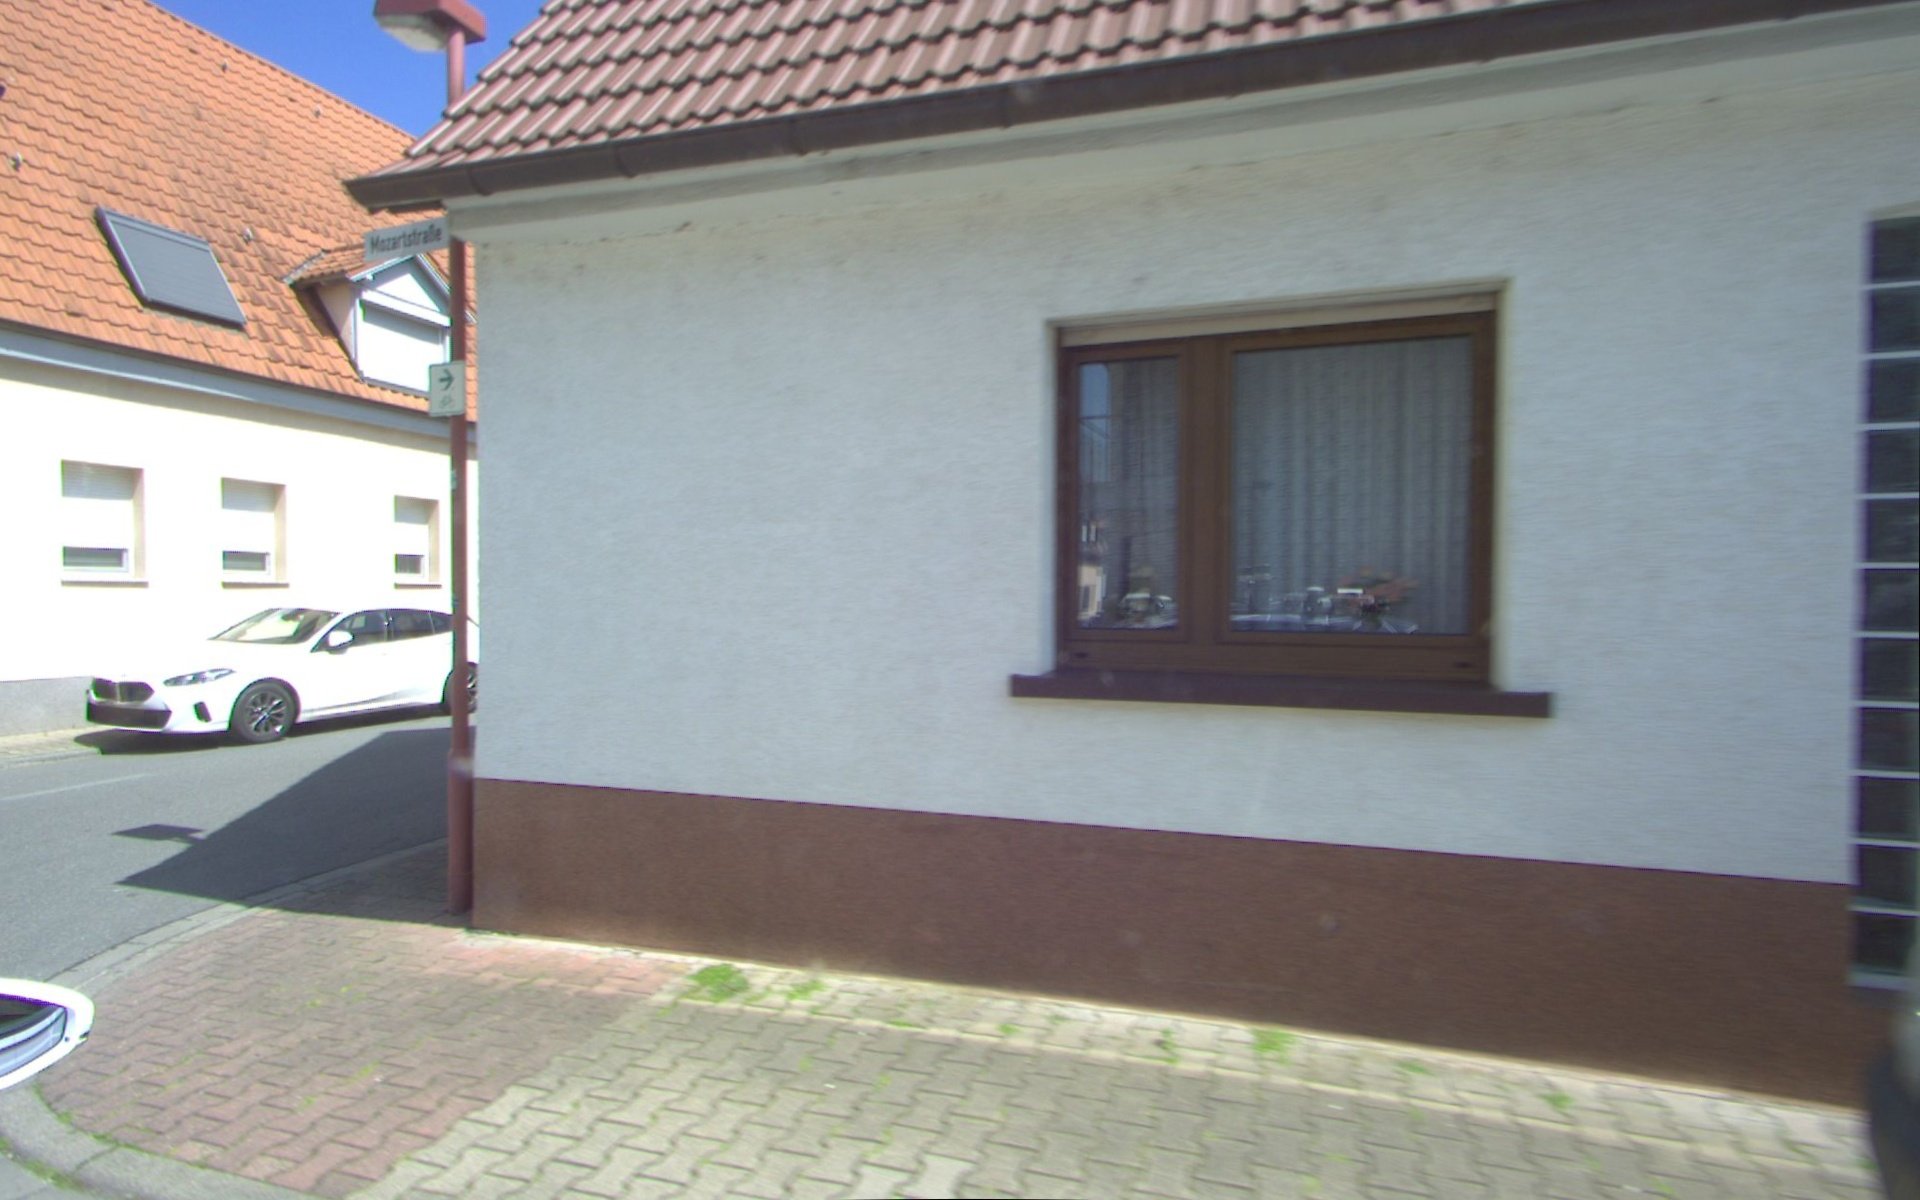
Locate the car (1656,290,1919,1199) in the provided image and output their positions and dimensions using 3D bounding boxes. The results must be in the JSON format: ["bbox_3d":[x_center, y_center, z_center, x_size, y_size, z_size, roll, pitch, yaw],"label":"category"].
[{"bbox_3d":[3.657,0.542,0.391,5.171,1.863,2.016,0,0,19],"label":"car"}]

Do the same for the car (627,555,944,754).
[{"bbox_3d":[-1.782,0.526,12.074,1.782,1.849,4.844,2,0,16],"label":"car"}]

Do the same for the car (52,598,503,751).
[{"bbox_3d":[-7.717,0.733,11.884,1.757,1.473,4.207,0,0,19],"label":"car"}]
